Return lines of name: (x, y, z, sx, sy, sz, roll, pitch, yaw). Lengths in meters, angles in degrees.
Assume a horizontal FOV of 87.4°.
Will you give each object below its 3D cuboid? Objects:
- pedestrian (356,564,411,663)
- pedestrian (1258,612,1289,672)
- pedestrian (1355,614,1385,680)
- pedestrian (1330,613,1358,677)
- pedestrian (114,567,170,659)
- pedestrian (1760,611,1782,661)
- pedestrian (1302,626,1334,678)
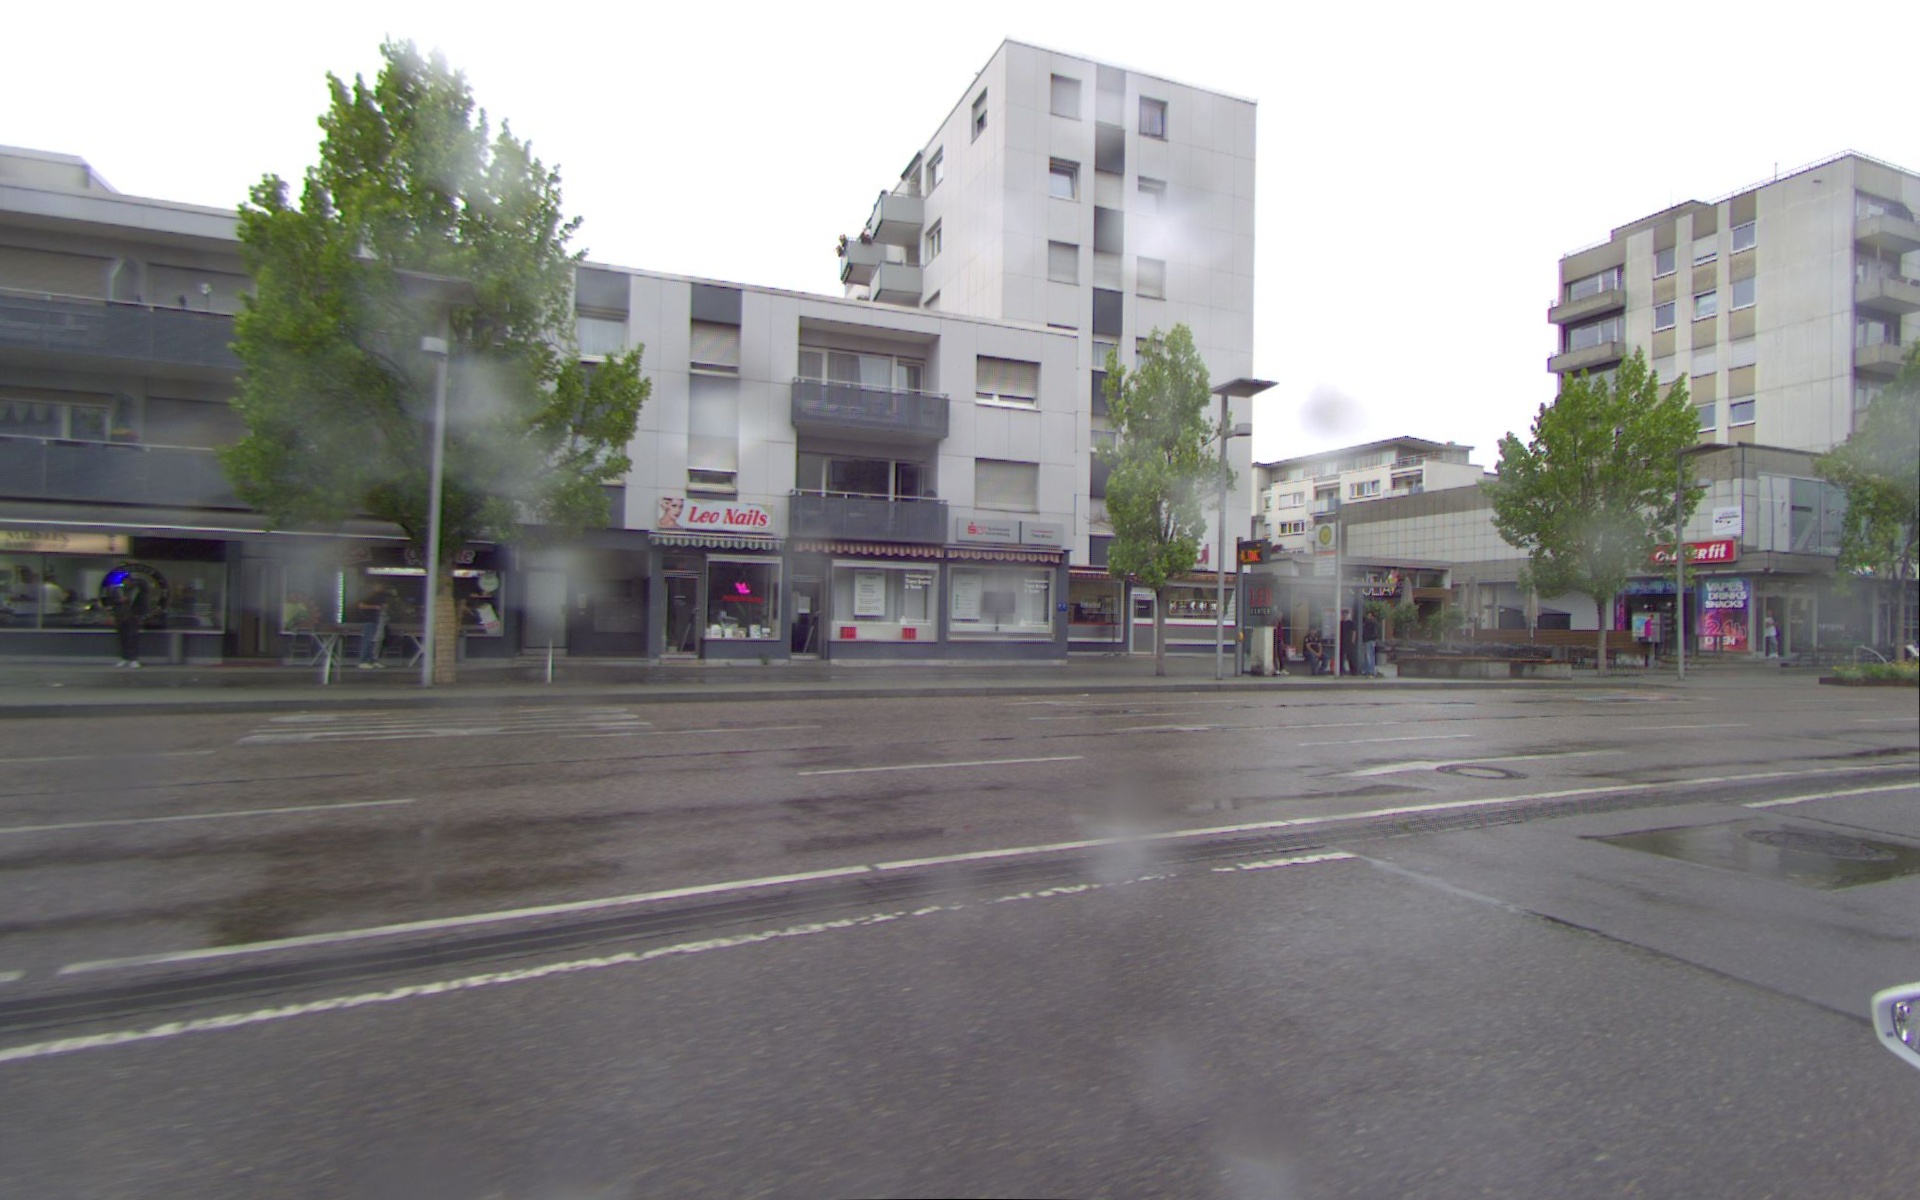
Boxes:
pedestrian: (-12.128, 0.290, 21.160, 0.851, 2.040, 0.758, 1, -1, -19)
pedestrian: (8.162, 1.094, 26.162, 0.611, 1.525, 0.529, 2, -1, -45)
pedestrian: (10.721, 1.224, 26.267, 0.528, 1.681, 0.477, 1, -1, -21)
pedestrian: (10.255, 1.189, 26.826, 0.471, 1.681, 0.535, 1, -1, -16)
pedestrian: (-16.002, 0.262, 19.655, 0.670, 1.773, 0.547, 1, -1, -20)
pedestrian: (30.675, 1.351, 37.976, 0.492, 1.872, 0.426, 1, -1, -12)
pedestrian: (9.475, 1.373, 26.576, 0.569, 1.370, 0.535, 1, -1, -16)
